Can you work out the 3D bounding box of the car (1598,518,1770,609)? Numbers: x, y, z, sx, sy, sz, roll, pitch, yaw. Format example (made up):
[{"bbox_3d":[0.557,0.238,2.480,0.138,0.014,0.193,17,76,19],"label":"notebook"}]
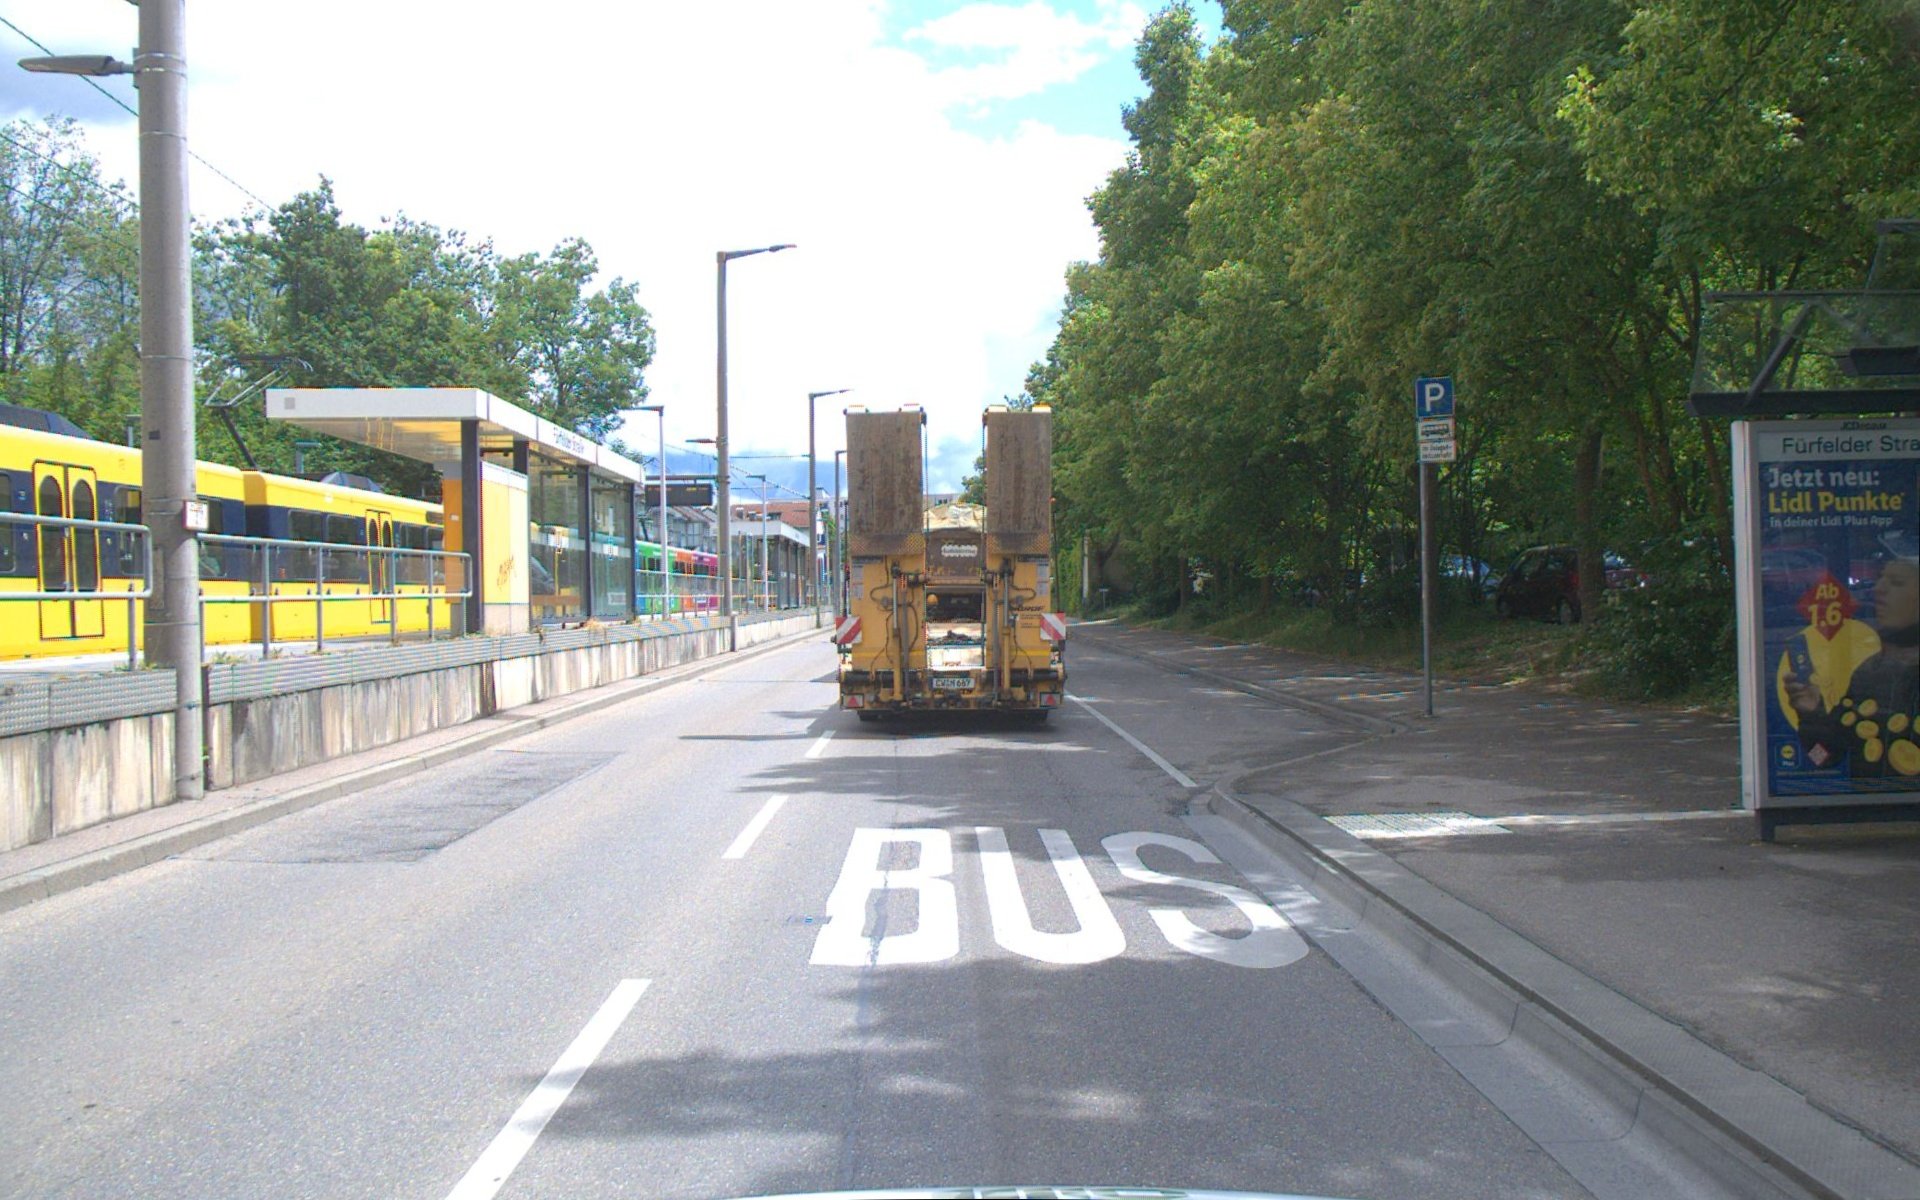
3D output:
[{"bbox_3d":[13.899,-0.675,31.969,1.658,1.534,3.622,-4,0,0],"label":"car"}]

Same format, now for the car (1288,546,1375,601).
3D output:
[{"bbox_3d":[11.448,-0.793,51.220,1.680,1.534,4.159,-4,0,0],"label":"car"}]

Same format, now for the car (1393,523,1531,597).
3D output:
[{"bbox_3d":[11.288,-0.870,37.462,1.761,1.489,3.988,-3,0,-1],"label":"car"}]

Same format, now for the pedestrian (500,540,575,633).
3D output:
[{"bbox_3d":[-5.817,-0.186,22.820,0.779,1.207,0.919,-3,0,-2],"label":"pedestrian"}]

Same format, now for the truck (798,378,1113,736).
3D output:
[{"bbox_3d":[-0.418,-0.517,24.643,3.335,3.797,13.729,-1,0,-3],"label":"truck"}]

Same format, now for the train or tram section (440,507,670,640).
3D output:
[{"bbox_3d":[-12.515,-0.749,53.839,3.045,3.525,19.194,1,0,-1],"label":"train or tram section"}]

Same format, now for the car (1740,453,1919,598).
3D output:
[{"bbox_3d":[12.111,-0.897,21.344,1.809,1.691,4.723,-1,0,-1],"label":"car"}]

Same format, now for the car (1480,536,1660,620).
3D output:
[{"bbox_3d":[11.602,-0.402,31.733,1.579,1.437,3.812,-3,1,-8],"label":"car"}]

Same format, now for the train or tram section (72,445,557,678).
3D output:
[{"bbox_3d":[-12.193,-0.642,34.805,3.045,3.525,18.992,1,0,-1],"label":"train or tram section"}]

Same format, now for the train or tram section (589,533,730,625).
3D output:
[{"bbox_3d":[-12.853,-0.857,73.010,3.045,3.525,19.085,1,0,-1],"label":"train or tram section"}]

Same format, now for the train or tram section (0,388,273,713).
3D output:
[{"bbox_3d":[-11.888,-0.535,15.863,3.045,3.525,18.822,1,0,-1],"label":"train or tram section"}]
